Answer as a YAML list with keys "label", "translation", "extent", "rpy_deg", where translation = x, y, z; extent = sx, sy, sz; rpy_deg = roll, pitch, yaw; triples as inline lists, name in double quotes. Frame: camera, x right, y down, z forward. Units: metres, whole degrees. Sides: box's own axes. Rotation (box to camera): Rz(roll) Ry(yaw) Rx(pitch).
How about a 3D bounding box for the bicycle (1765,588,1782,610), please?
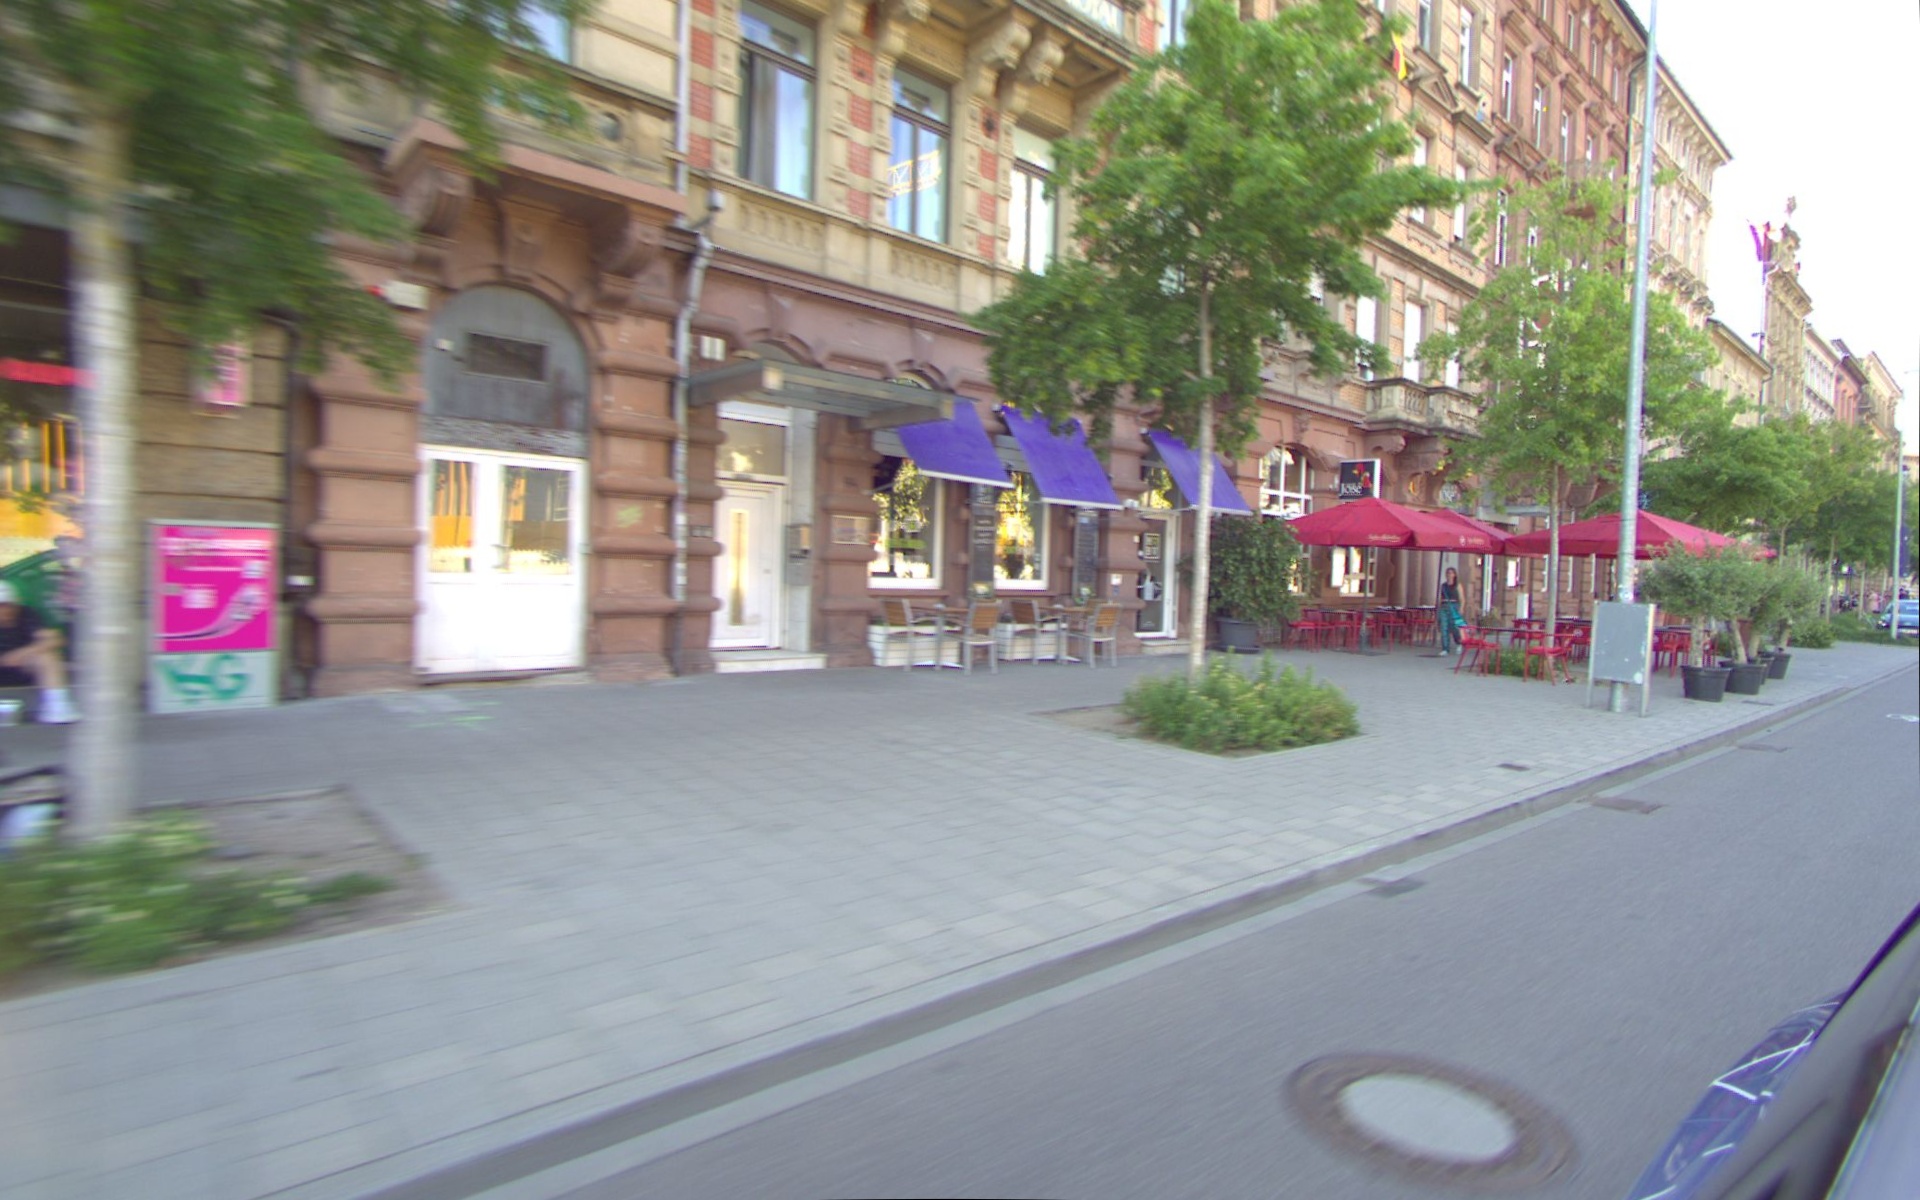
- label: "bicycle"
  translation: [40.356, -0.046, 50.200]
  extent: [2.037, 1.046, 0.343]
  rpy_deg: [-1, 1, -43]

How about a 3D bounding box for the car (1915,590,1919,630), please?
- label: "car"
  translation: [37.560, 0.400, 38.218]
  extent: [5.165, 1.471, 1.851]
  rpy_deg: [0, 4, -44]

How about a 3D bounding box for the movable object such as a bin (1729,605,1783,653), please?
- label: "movable object such as a bin"
  translation: [17.139, 0.617, 21.795]
  extent: [0.548, 0.935, 0.679]
  rpy_deg: [0, 4, -21]

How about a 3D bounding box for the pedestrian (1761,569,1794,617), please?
- label: "pedestrian"
  translation: [31.005, -0.265, 38.384]
  extent: [1.053, 1.776, 0.749]
  rpy_deg: [0, 3, -42]

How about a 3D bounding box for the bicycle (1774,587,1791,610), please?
- label: "bicycle"
  translation: [40.589, -0.084, 49.939]
  extent: [2.037, 1.078, 0.324]
  rpy_deg: [-1, 1, -43]

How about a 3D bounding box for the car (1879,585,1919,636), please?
- label: "car"
  translation: [32.810, 0.363, 34.392]
  extent: [4.223, 1.583, 1.852]
  rpy_deg: [0, 4, -42]

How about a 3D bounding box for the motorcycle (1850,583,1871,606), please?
- label: "motorcycle"
  translation: [59.277, -0.349, 66.597]
  extent: [2.018, 1.439, 0.787]
  rpy_deg: [0, 2, -42]

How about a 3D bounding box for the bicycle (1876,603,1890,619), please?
- label: "bicycle"
  translation: [38.532, 0.460, 42.252]
  extent: [0.985, 0.655, 0.355]
  rpy_deg: [-1, 1, -43]

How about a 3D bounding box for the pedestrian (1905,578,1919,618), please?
- label: "pedestrian"
  translation: [43.528, -0.105, 46.148]
  extent: [0.495, 1.801, 0.473]
  rpy_deg: [0, 1, -23]

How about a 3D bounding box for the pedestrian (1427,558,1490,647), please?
- label: "pedestrian"
  translation: [9.101, 0.039, 18.477]
  extent: [0.783, 1.552, 0.729]
  rpy_deg: [0, 4, -42]

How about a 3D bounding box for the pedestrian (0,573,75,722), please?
- label: "pedestrian"
  translation: [-6.650, 0.308, 6.983]
  extent: [0.790, 0.974, 0.815]
  rpy_deg: [0, 2, -40]

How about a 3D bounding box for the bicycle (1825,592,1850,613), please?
- label: "bicycle"
  translation: [39.907, 0.117, 46.020]
  extent: [1.654, 0.927, 0.655]
  rpy_deg: [-1, 1, -43]

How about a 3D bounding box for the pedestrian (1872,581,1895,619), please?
- label: "pedestrian"
  translation: [43.008, -0.008, 47.127]
  extent: [0.566, 1.750, 0.482]
  rpy_deg: [1, 1, 3]
